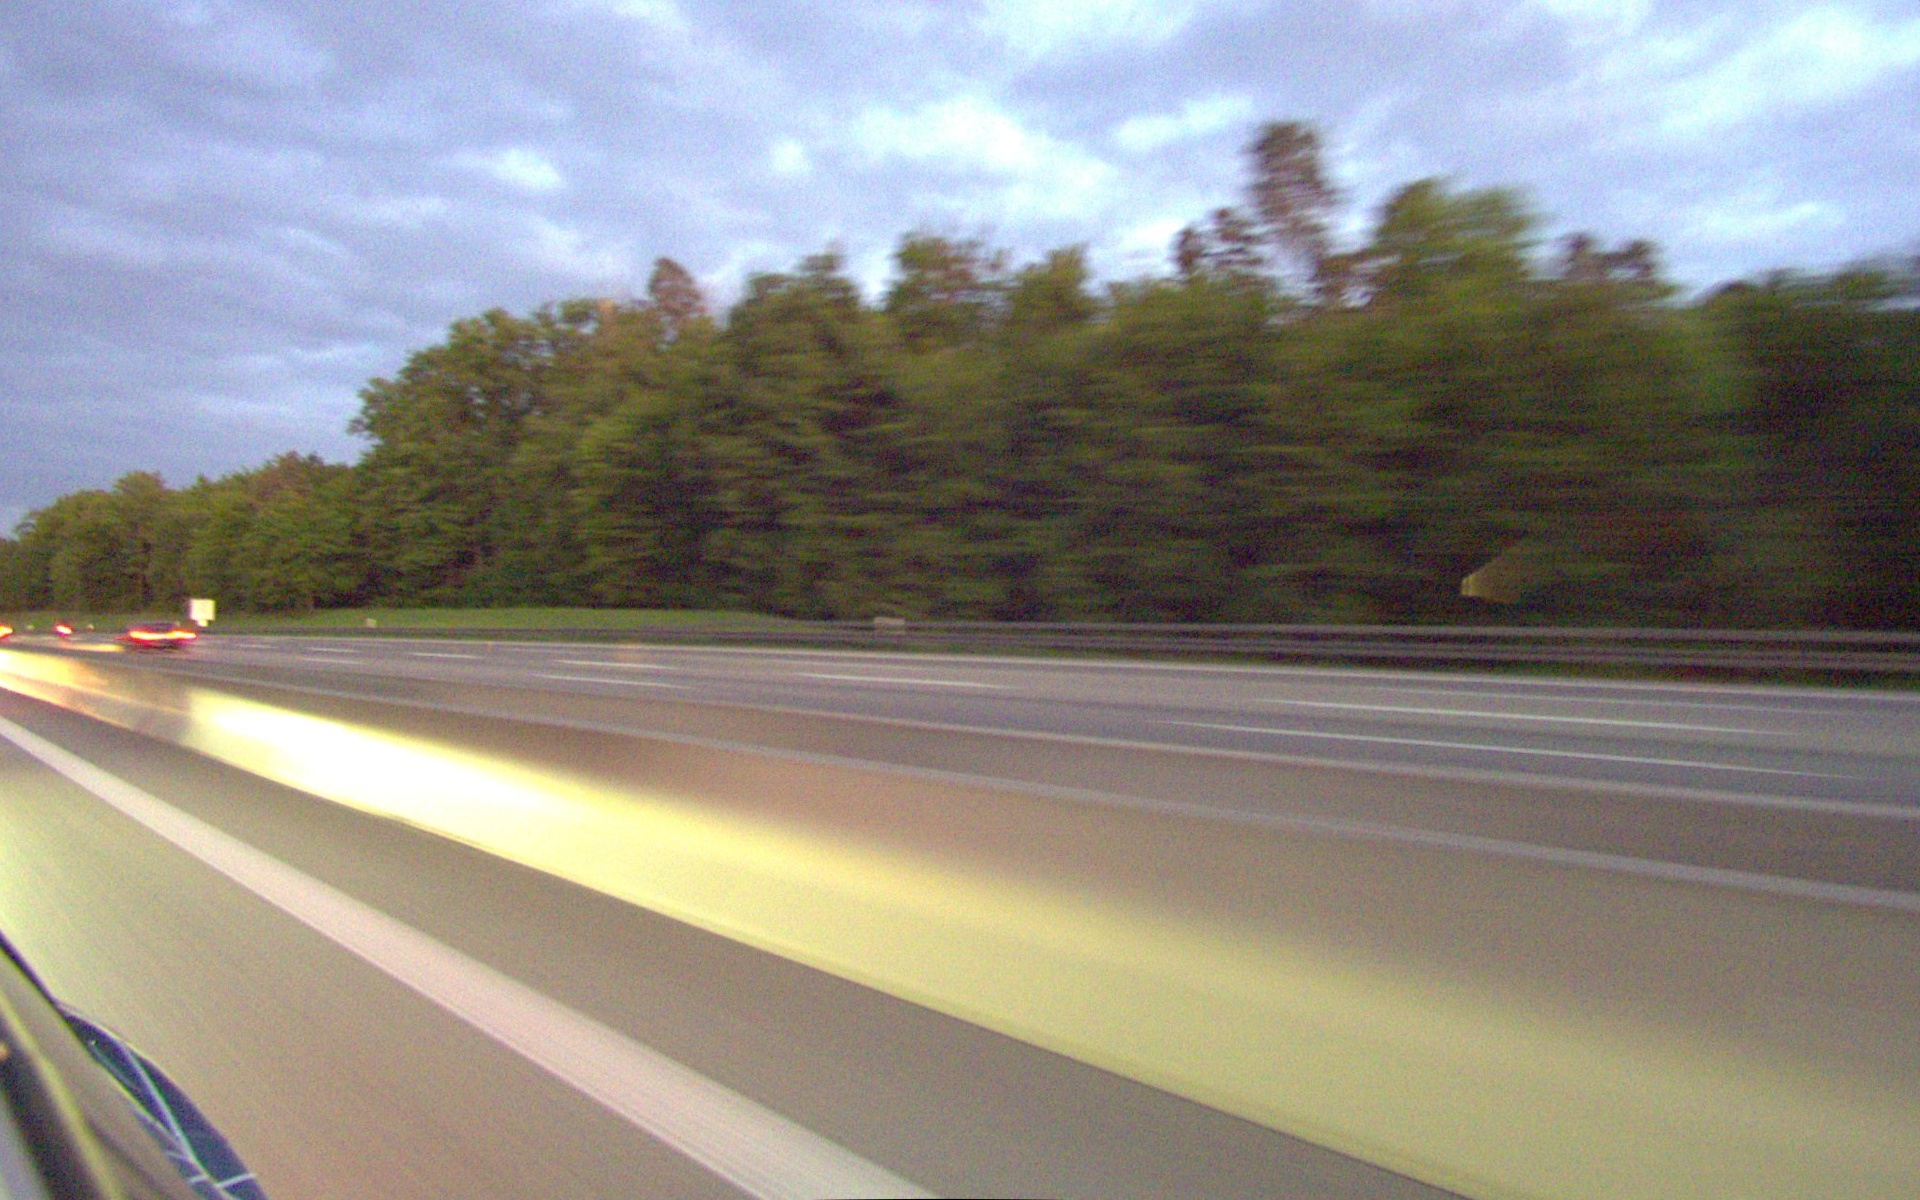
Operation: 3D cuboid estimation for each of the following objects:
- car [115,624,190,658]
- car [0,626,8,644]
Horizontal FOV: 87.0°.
[{"bbox_3d":[-36.168,1.815,45.300,4.936,1.412,1.758,-1,-1,41],"label":"car"},{"bbox_3d":[-78.054,2.833,81.347,5.360,1.440,1.737,-1,-1,41],"label":"car"}]
